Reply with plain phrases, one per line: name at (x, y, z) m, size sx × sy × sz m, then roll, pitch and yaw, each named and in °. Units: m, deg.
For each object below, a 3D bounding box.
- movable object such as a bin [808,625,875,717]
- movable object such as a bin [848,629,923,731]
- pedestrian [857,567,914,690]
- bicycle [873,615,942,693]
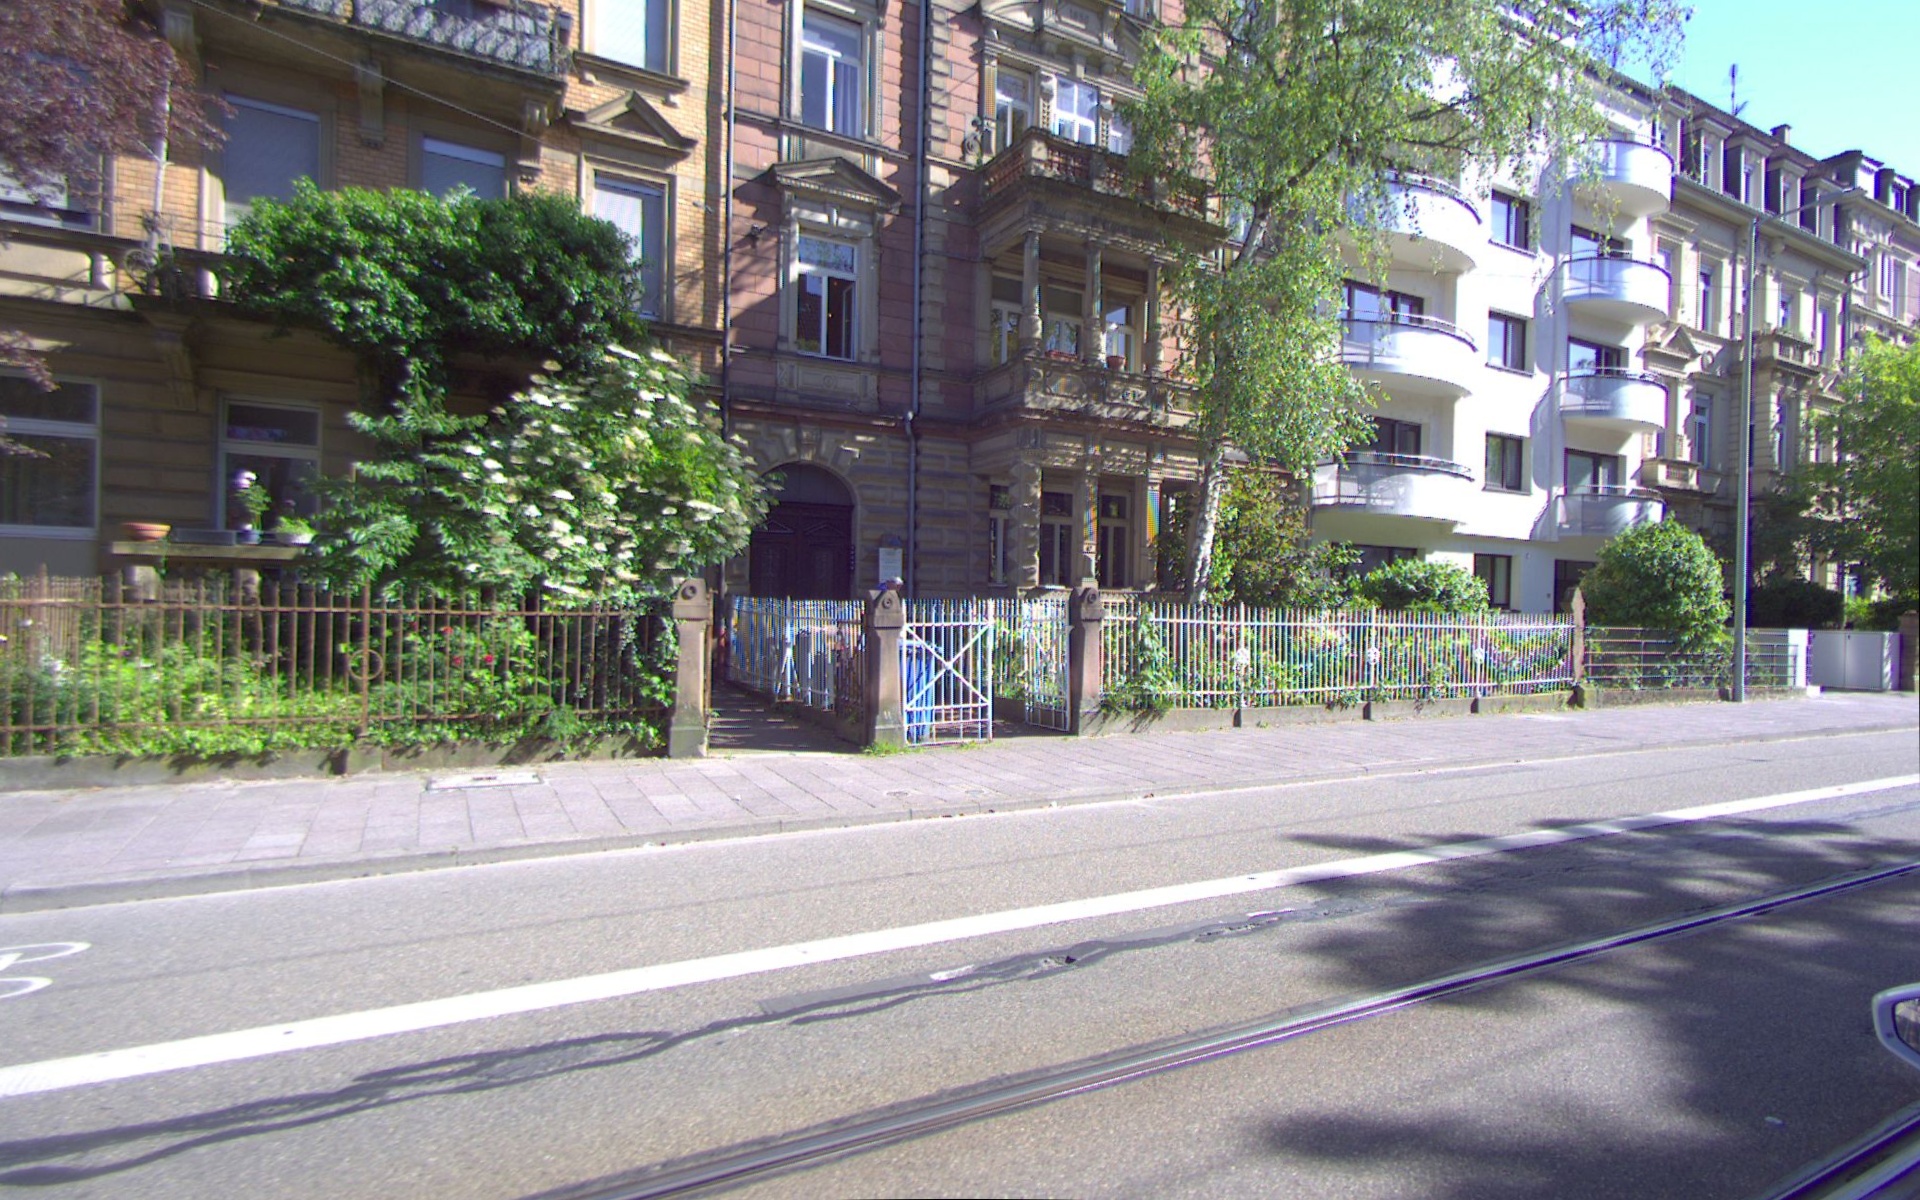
movable object such as a bin at (-1.462, 0.859, 12.367) m, size 0.612 × 1.068 × 0.582 m, roll 1°, pitch 1°, yaw -29°
movable object such as a bin at (-0.834, 0.875, 11.188) m, size 0.612 × 1.068 × 0.582 m, roll 1°, pitch 1°, yaw -29°
pedestrian at (-1.063, 0.392, 14.234) m, size 0.600 × 1.696 × 0.511 m, roll 1°, pitch 1°, yaw -30°
bicycle at (-0.795, 0.769, 14.818) m, size 0.418 × 1.026 × 1.454 m, roll 1°, pitch 1°, yaw -28°
